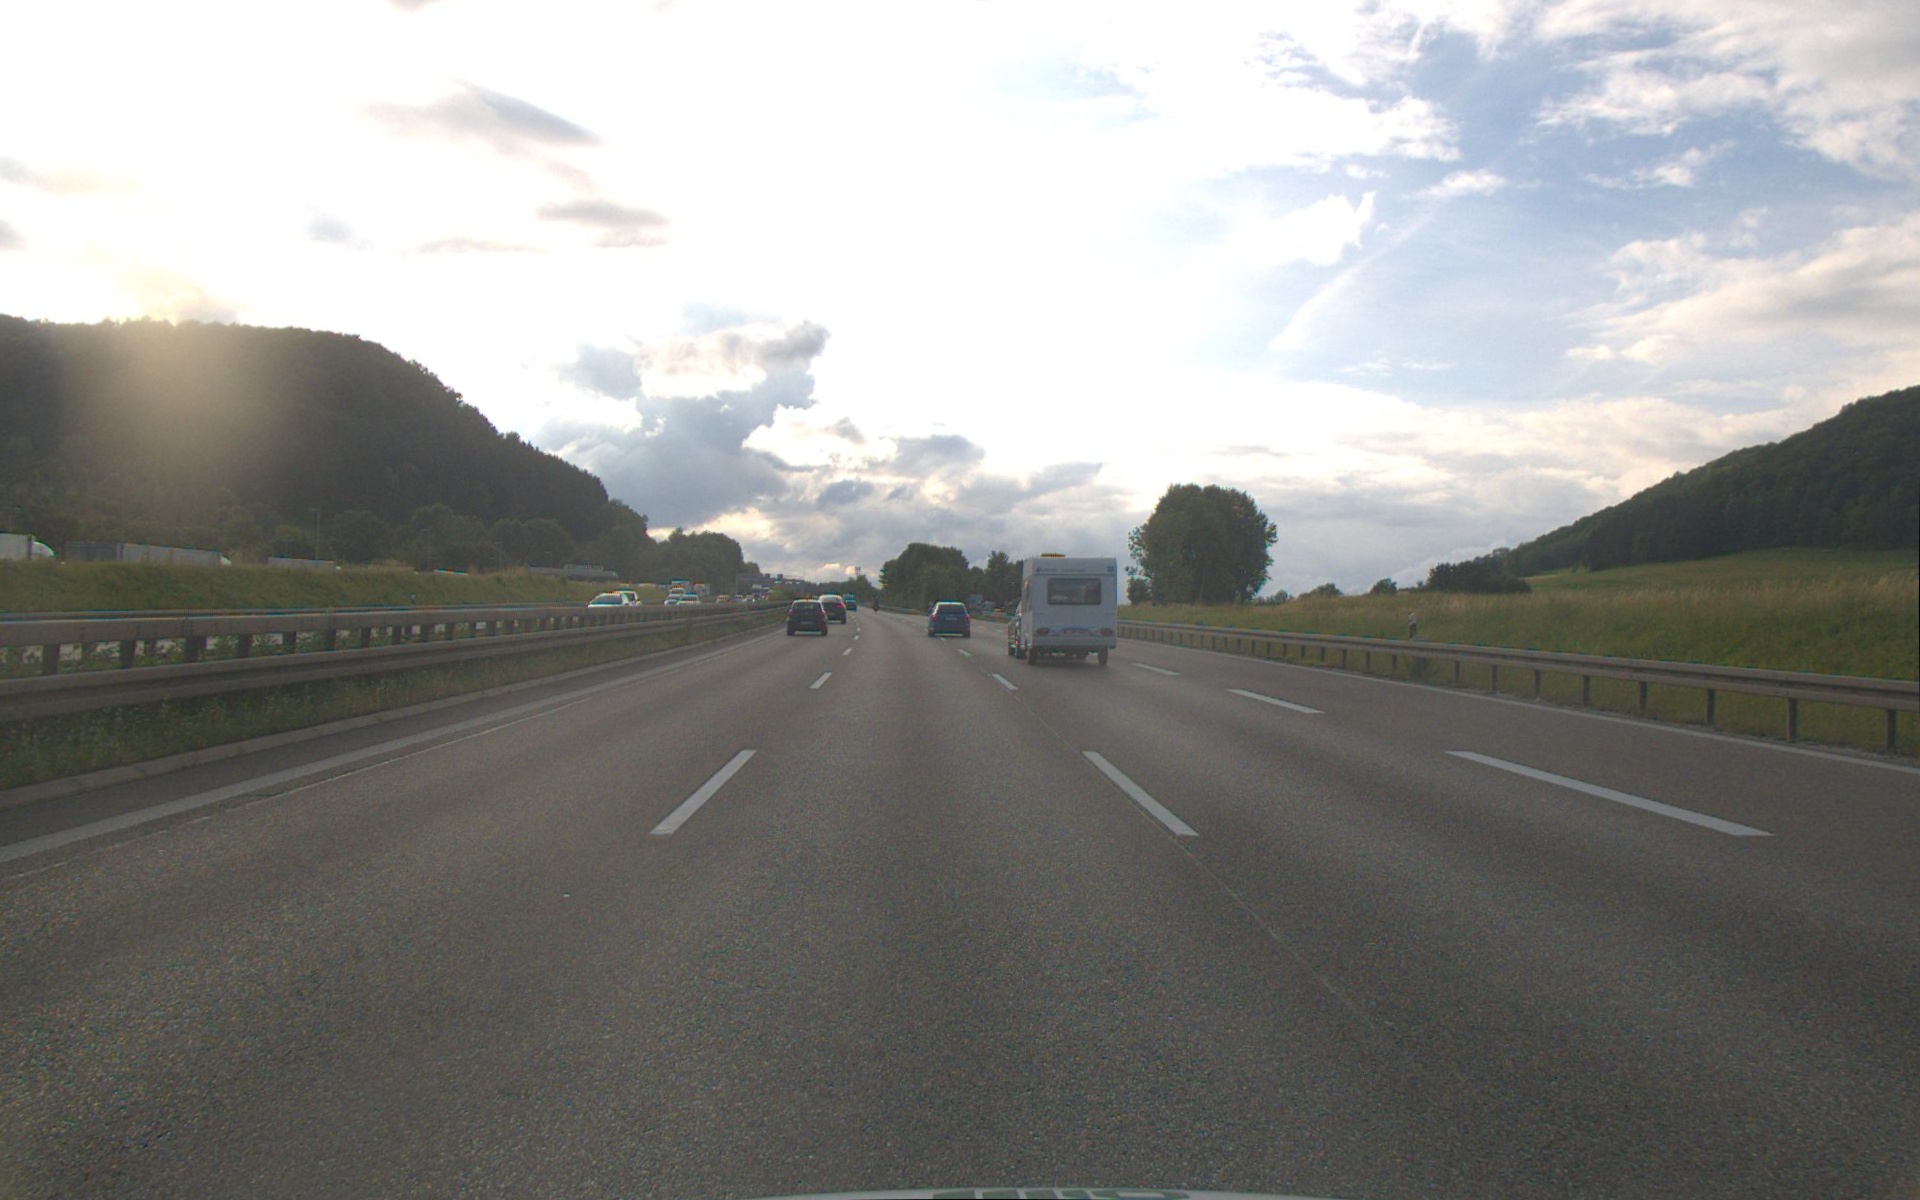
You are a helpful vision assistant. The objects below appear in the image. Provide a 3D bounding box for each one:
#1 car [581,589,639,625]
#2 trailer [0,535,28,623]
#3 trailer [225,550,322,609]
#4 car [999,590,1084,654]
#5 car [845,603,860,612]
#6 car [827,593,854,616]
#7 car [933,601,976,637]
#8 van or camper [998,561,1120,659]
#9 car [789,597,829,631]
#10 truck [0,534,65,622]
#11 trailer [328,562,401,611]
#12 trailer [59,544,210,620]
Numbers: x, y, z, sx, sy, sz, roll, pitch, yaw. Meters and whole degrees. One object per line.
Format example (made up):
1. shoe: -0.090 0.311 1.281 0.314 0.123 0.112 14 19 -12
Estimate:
1. car: -16.150 0.296 76.483 1.803 1.557 4.214 -1 0 0
2. trailer: -42.233 -0.905 66.757 2.822 3.761 13.658 0 0 -6
3. trailer: -45.722 -1.331 110.511 2.820 3.761 10.363 0 0 -4
4. car: 2.221 0.570 45.992 1.751 1.681 4.477 1 0 -5
5. car: -14.998 1.015 230.432 1.719 1.243 3.991 0 0 -9
6. car: -7.419 0.286 102.973 1.534 1.404 3.998 0 0 -2
7. car: -0.237 0.791 70.100 1.731 1.458 3.999 -1 0 0
8. van or camper: 2.407 0.279 41.693 2.497 2.279 5.325 1 -1 -3
9. car: -6.338 0.583 69.712 1.507 1.371 3.675 0 0 -2
10. truck: -42.775 -0.927 72.735 2.825 3.755 8.484 0 -1 -5
11. trailer: -47.655 -1.083 132.721 2.820 3.761 10.363 0 0 -4
12. trailer: -44.236 -0.825 89.244 2.822 3.761 13.655 -1 -1 -7
